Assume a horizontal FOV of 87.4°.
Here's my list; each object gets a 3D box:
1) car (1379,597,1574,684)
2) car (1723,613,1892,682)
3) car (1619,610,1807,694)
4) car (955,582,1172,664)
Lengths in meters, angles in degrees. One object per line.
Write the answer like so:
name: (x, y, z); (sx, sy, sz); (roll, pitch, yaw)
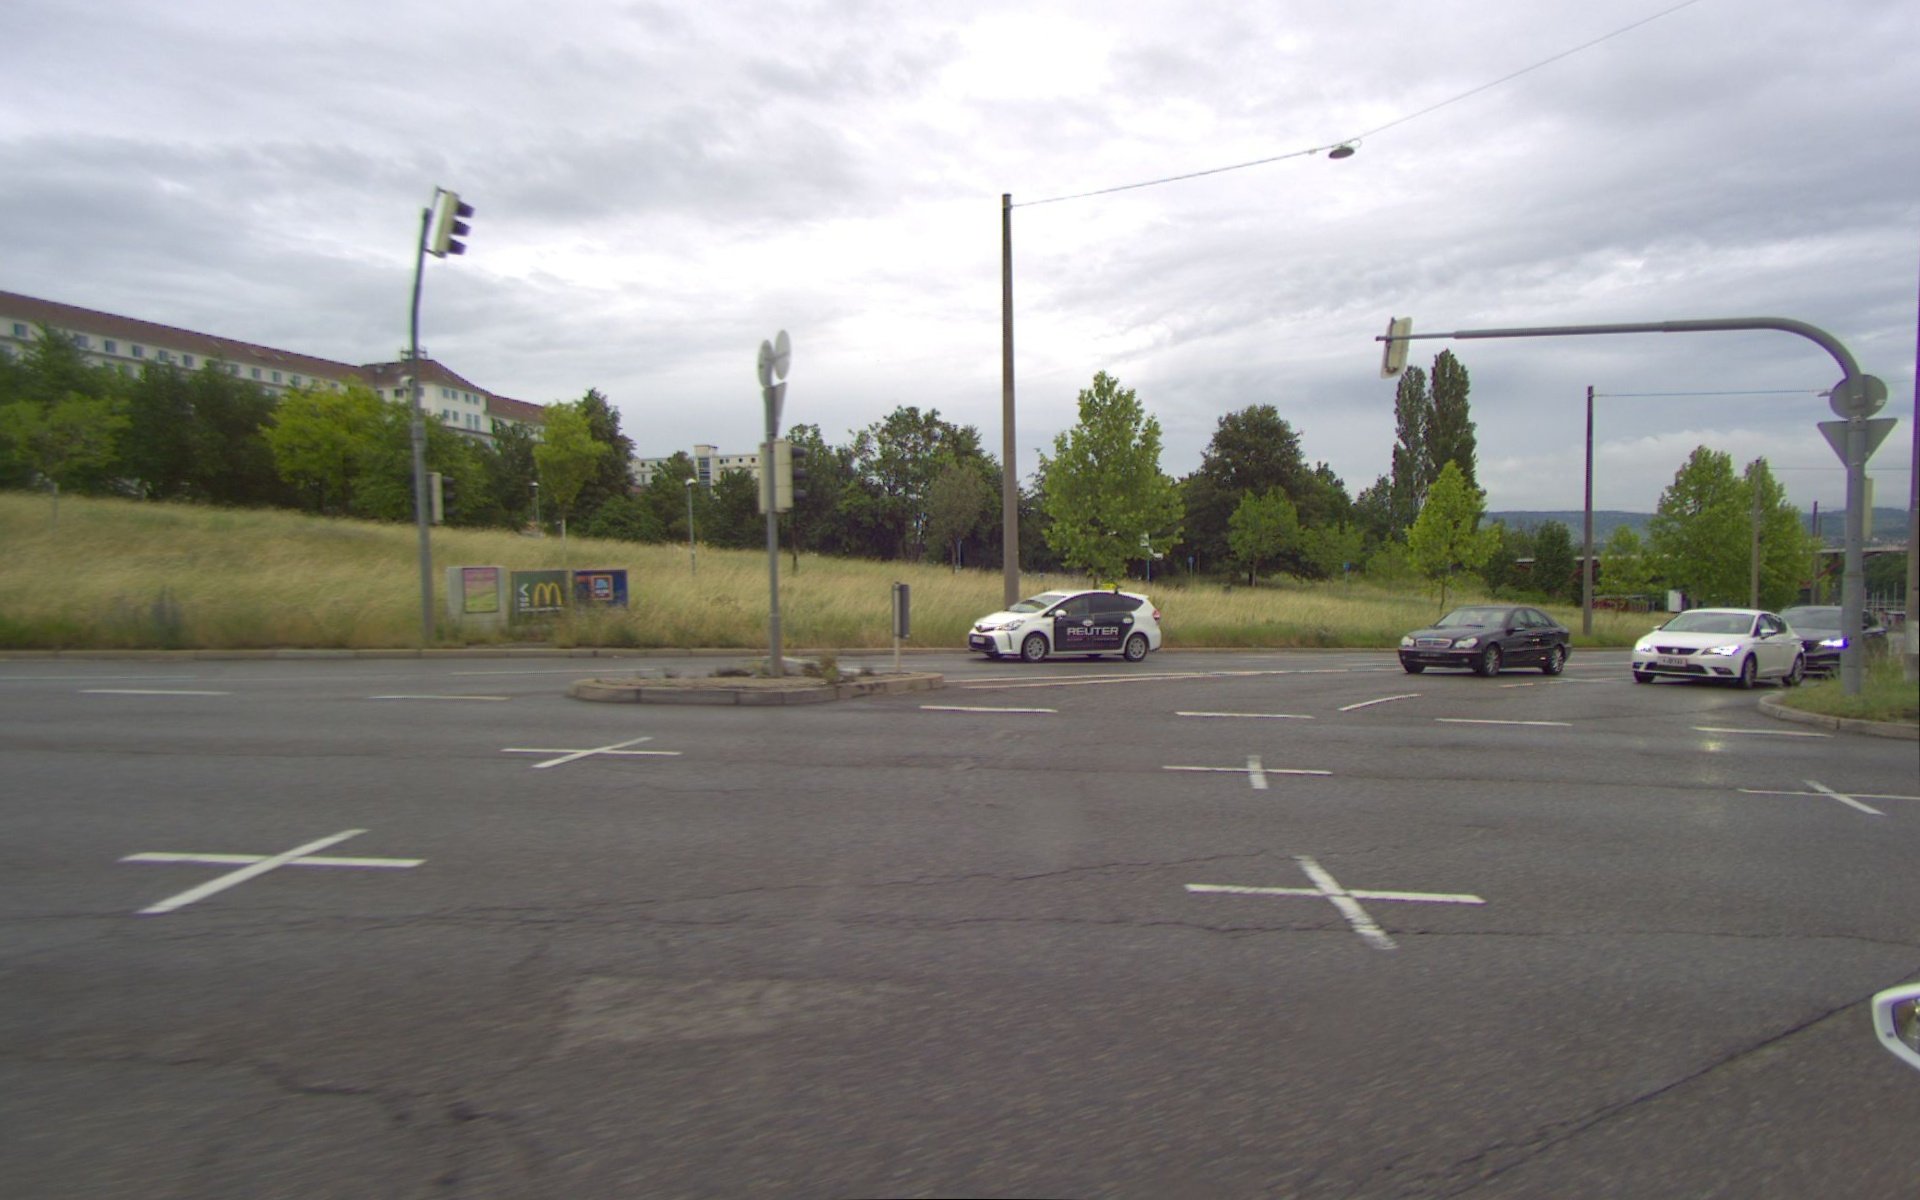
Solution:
car: (10.544, 0.829, 20.425); (3.961, 1.557, 1.883); (3, 0, -35)
car: (19.571, 1.028, 23.174); (3.956, 1.342, 1.884); (0, 2, -32)
car: (14.285, 0.966, 18.993); (3.961, 1.391, 1.725); (2, 0, -36)
car: (2.361, 0.540, 22.535); (4.624, 1.632, 1.875); (2, 0, -31)
